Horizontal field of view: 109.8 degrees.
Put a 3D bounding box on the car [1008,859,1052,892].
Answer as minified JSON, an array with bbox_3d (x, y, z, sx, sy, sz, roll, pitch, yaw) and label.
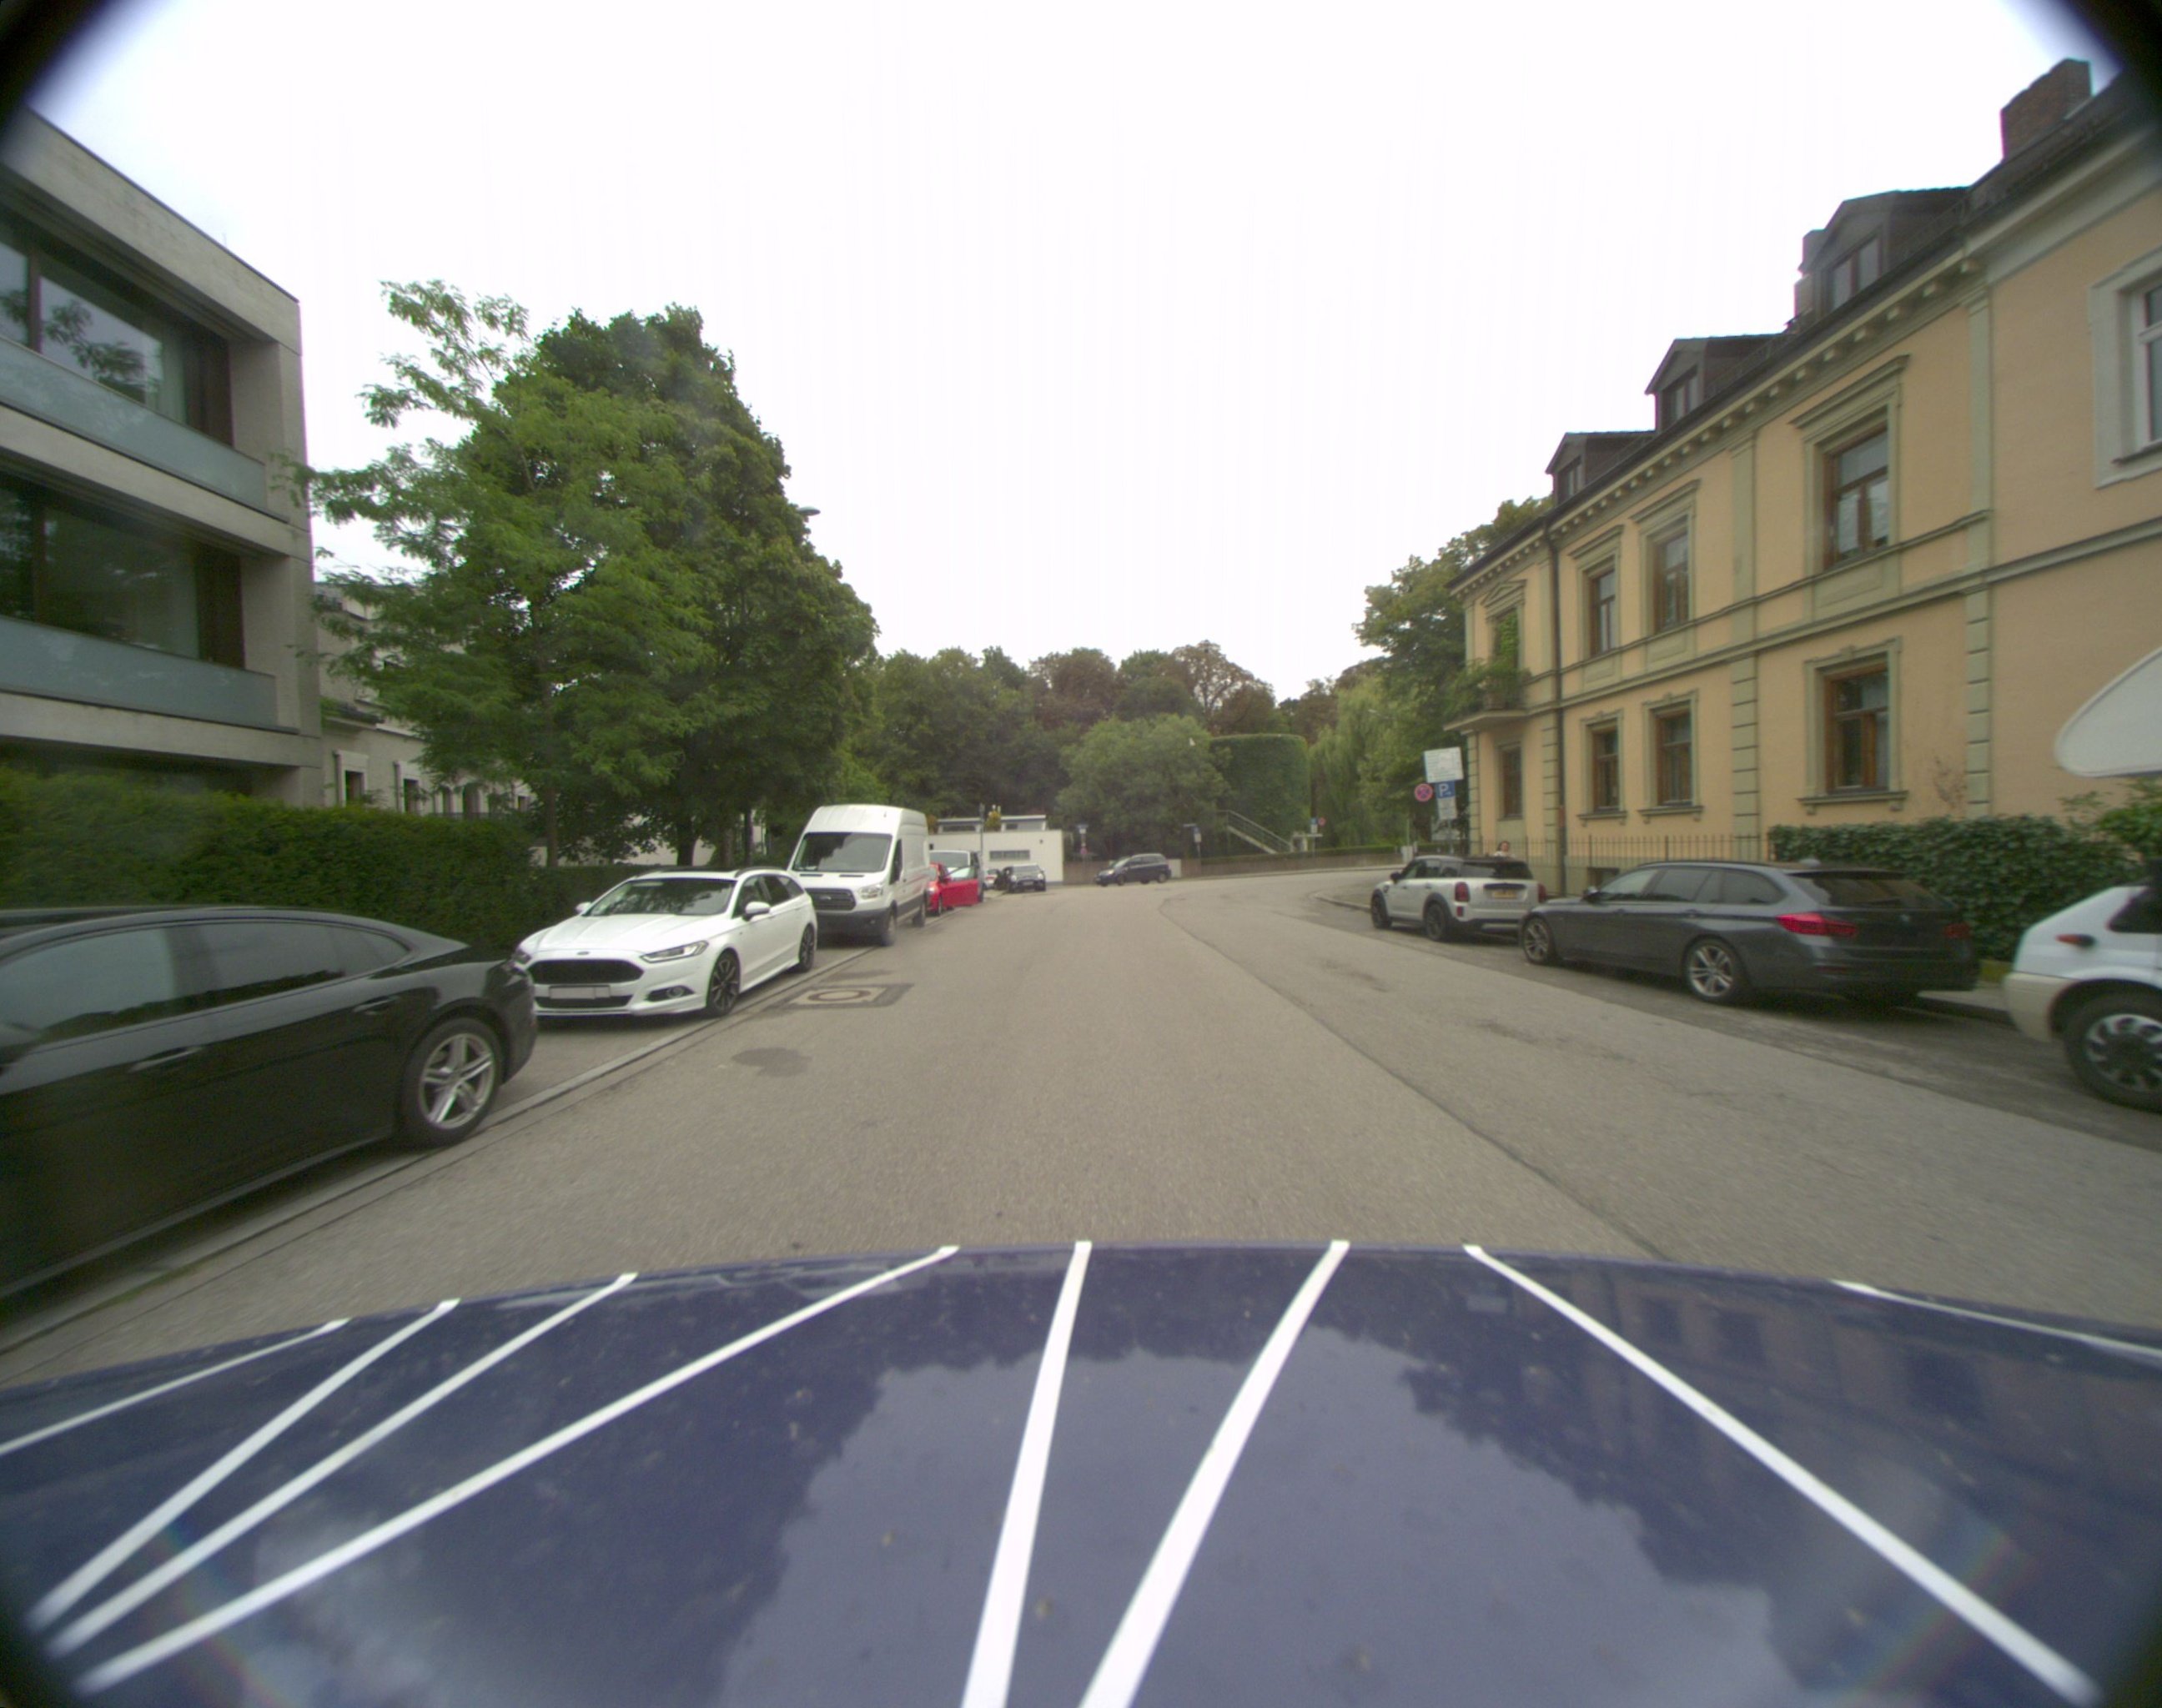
[{"bbox_3d":[-2.636,1.072,38.373,1.897,1.438,4.267,-4,-1,-7],"label":"car"}]

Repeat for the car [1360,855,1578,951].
[{"bbox_3d":[7.191,0.809,14.722,1.940,1.526,4.531,1,0,1],"label":"car"}]

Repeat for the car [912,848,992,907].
[{"bbox_3d":[-4.469,0.768,27.172,1.939,1.893,5.072,1,0,1],"label":"car"}]

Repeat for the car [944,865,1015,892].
[{"bbox_3d":[-6.265,1.495,46.667,4.004,1.437,1.945,-4,-3,33],"label":"car"}]

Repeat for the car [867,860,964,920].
[{"bbox_3d":[-4.628,0.944,21.938,1.876,1.498,4.837,1,0,-2],"label":"car"}]

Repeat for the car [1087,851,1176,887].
[{"bbox_3d":[2.728,0.800,41.120,4.340,1.682,1.997,-2,-3,-29],"label":"car"}]

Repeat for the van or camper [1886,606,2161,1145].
[{"bbox_3d":[7.055,0.130,1.917,2.461,2.923,7.211,0,0,1],"label":"van or camper"}]

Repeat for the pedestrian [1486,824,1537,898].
[{"bbox_3d":[9.630,0.161,17.026,0.655,1.594,0.739,-3,1,-1],"label":"pedestrian"}]

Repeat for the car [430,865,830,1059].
[{"bbox_3d":[-4.530,0.925,8.767,1.876,1.560,5.000,1,0,-4],"label":"car"}]

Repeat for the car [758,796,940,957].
[{"bbox_3d":[-4.428,0.401,15.707,2.085,2.670,6.087,0,0,-2],"label":"car"}]

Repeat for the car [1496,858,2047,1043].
[{"bbox_3d":[7.179,0.838,8.850,1.941,1.499,4.821,1,0,-1],"label":"car"}]

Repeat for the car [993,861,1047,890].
[{"bbox_3d":[-3.473,1.238,42.685,1.899,1.438,4.009,-4,-1,-21],"label":"car"}]

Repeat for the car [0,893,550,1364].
[{"bbox_3d":[-4.395,1.020,2.800,1.284,1.497,5.207,0,0,-1],"label":"car"}]
